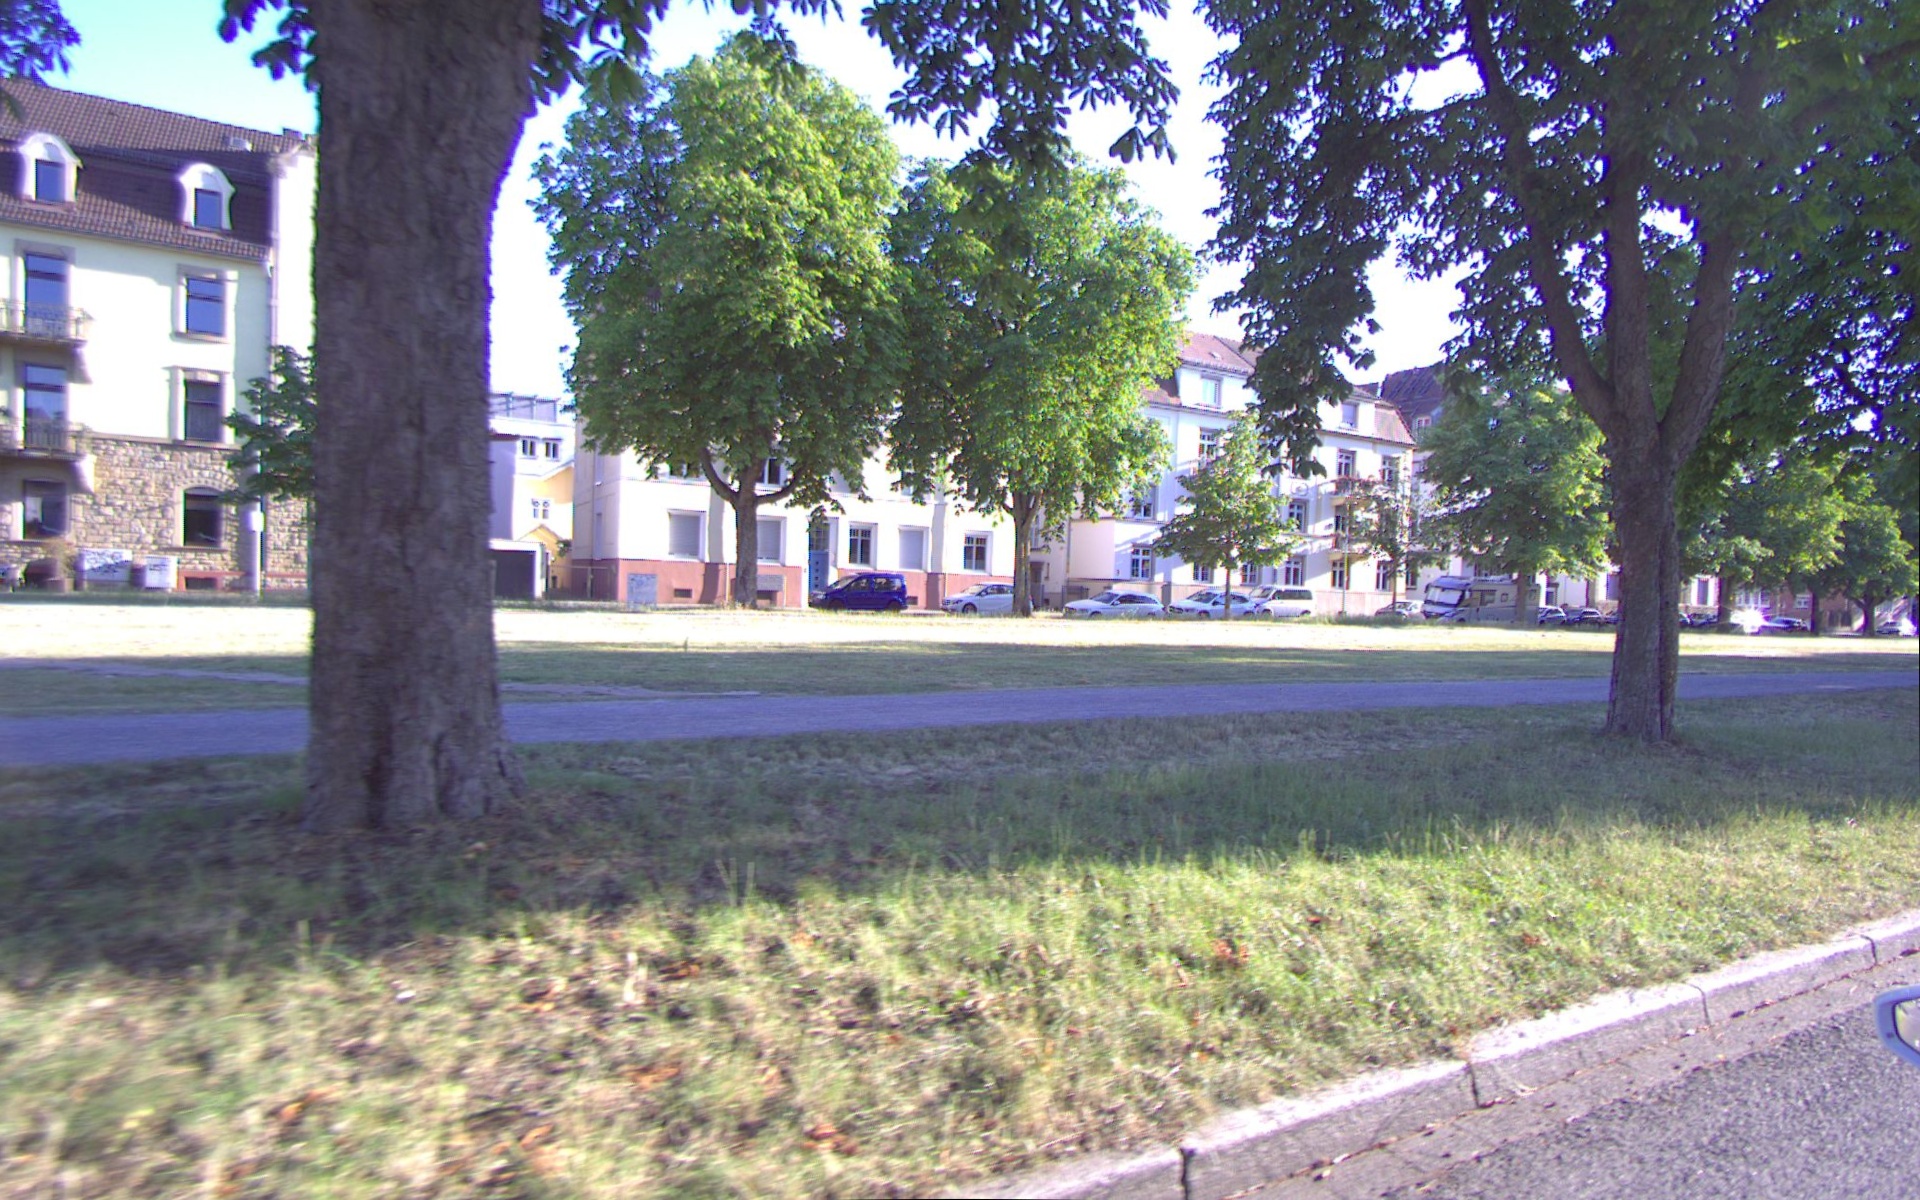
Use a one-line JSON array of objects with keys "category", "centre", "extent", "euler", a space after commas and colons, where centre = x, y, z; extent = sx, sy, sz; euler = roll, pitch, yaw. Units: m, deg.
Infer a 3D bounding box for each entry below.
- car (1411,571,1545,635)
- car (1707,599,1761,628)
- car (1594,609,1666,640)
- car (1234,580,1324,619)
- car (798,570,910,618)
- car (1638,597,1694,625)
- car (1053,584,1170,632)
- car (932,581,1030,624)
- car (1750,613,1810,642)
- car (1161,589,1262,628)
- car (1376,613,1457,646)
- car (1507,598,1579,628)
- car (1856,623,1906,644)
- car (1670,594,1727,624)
[{"category": "car", "centre": [28.239, 0.194, 54.667], "extent": [7.757, 3.173, 2.381], "euler": [1, 4, -29]}, {"category": "car", "centre": [62.131, 1.114, 80.589], "extent": [3.954, 2.041, 1.983], "euler": [2, 3, -31]}, {"category": "car", "centre": [41.557, 1.521, 62.328], "extent": [4.263, 1.696, 1.871], "euler": [2, 3, -29]}, {"category": "car", "centre": [17.600, -0.029, 55.385], "extent": [4.821, 1.976, 1.983], "euler": [1, 1, -31]}, {"category": "car", "centre": [-4.516, -0.243, 42.927], "extent": [4.257, 1.759, 1.985], "euler": [3, 3, -28]}, {"category": "car", "centre": [52.737, 0.821, 75.055], "extent": [3.869, 1.827, 1.856], "euler": [2, 3, -29]}, {"category": "car", "centre": [6.384, 0.341, 42.383], "extent": [4.513, 1.681, 1.985], "euler": [3, 3, -28]}, {"category": "car", "centre": [0.968, 0.113, 45.921], "extent": [3.950, 1.681, 1.985], "euler": [3, 3, -28]}, {"category": "car", "centre": [58.903, 1.999, 72.168], "extent": [4.072, 1.805, 1.803], "euler": [2, 3, -29]}, {"category": "car", "centre": [11.289, 0.387, 45.081], "extent": [4.368, 1.575, 1.786], "euler": [1, 4, -31]}, {"category": "car", "centre": [27.373, 1.762, 60.243], "extent": [4.513, 1.681, 1.985], "euler": [3, 3, -28]}, {"category": "car", "centre": [39.458, 0.899, 67.949], "extent": [5.101, 1.712, 1.983], "euler": [2, 3, -31]}, {"category": "car", "centre": [86.640, 3.132, 94.496], "extent": [4.300, 1.681, 1.985], "euler": [3, 3, -28]}, {"category": "car", "centre": [56.818, 0.722, 77.279], "extent": [3.954, 2.041, 1.983], "euler": [2, 3, -31]}]
